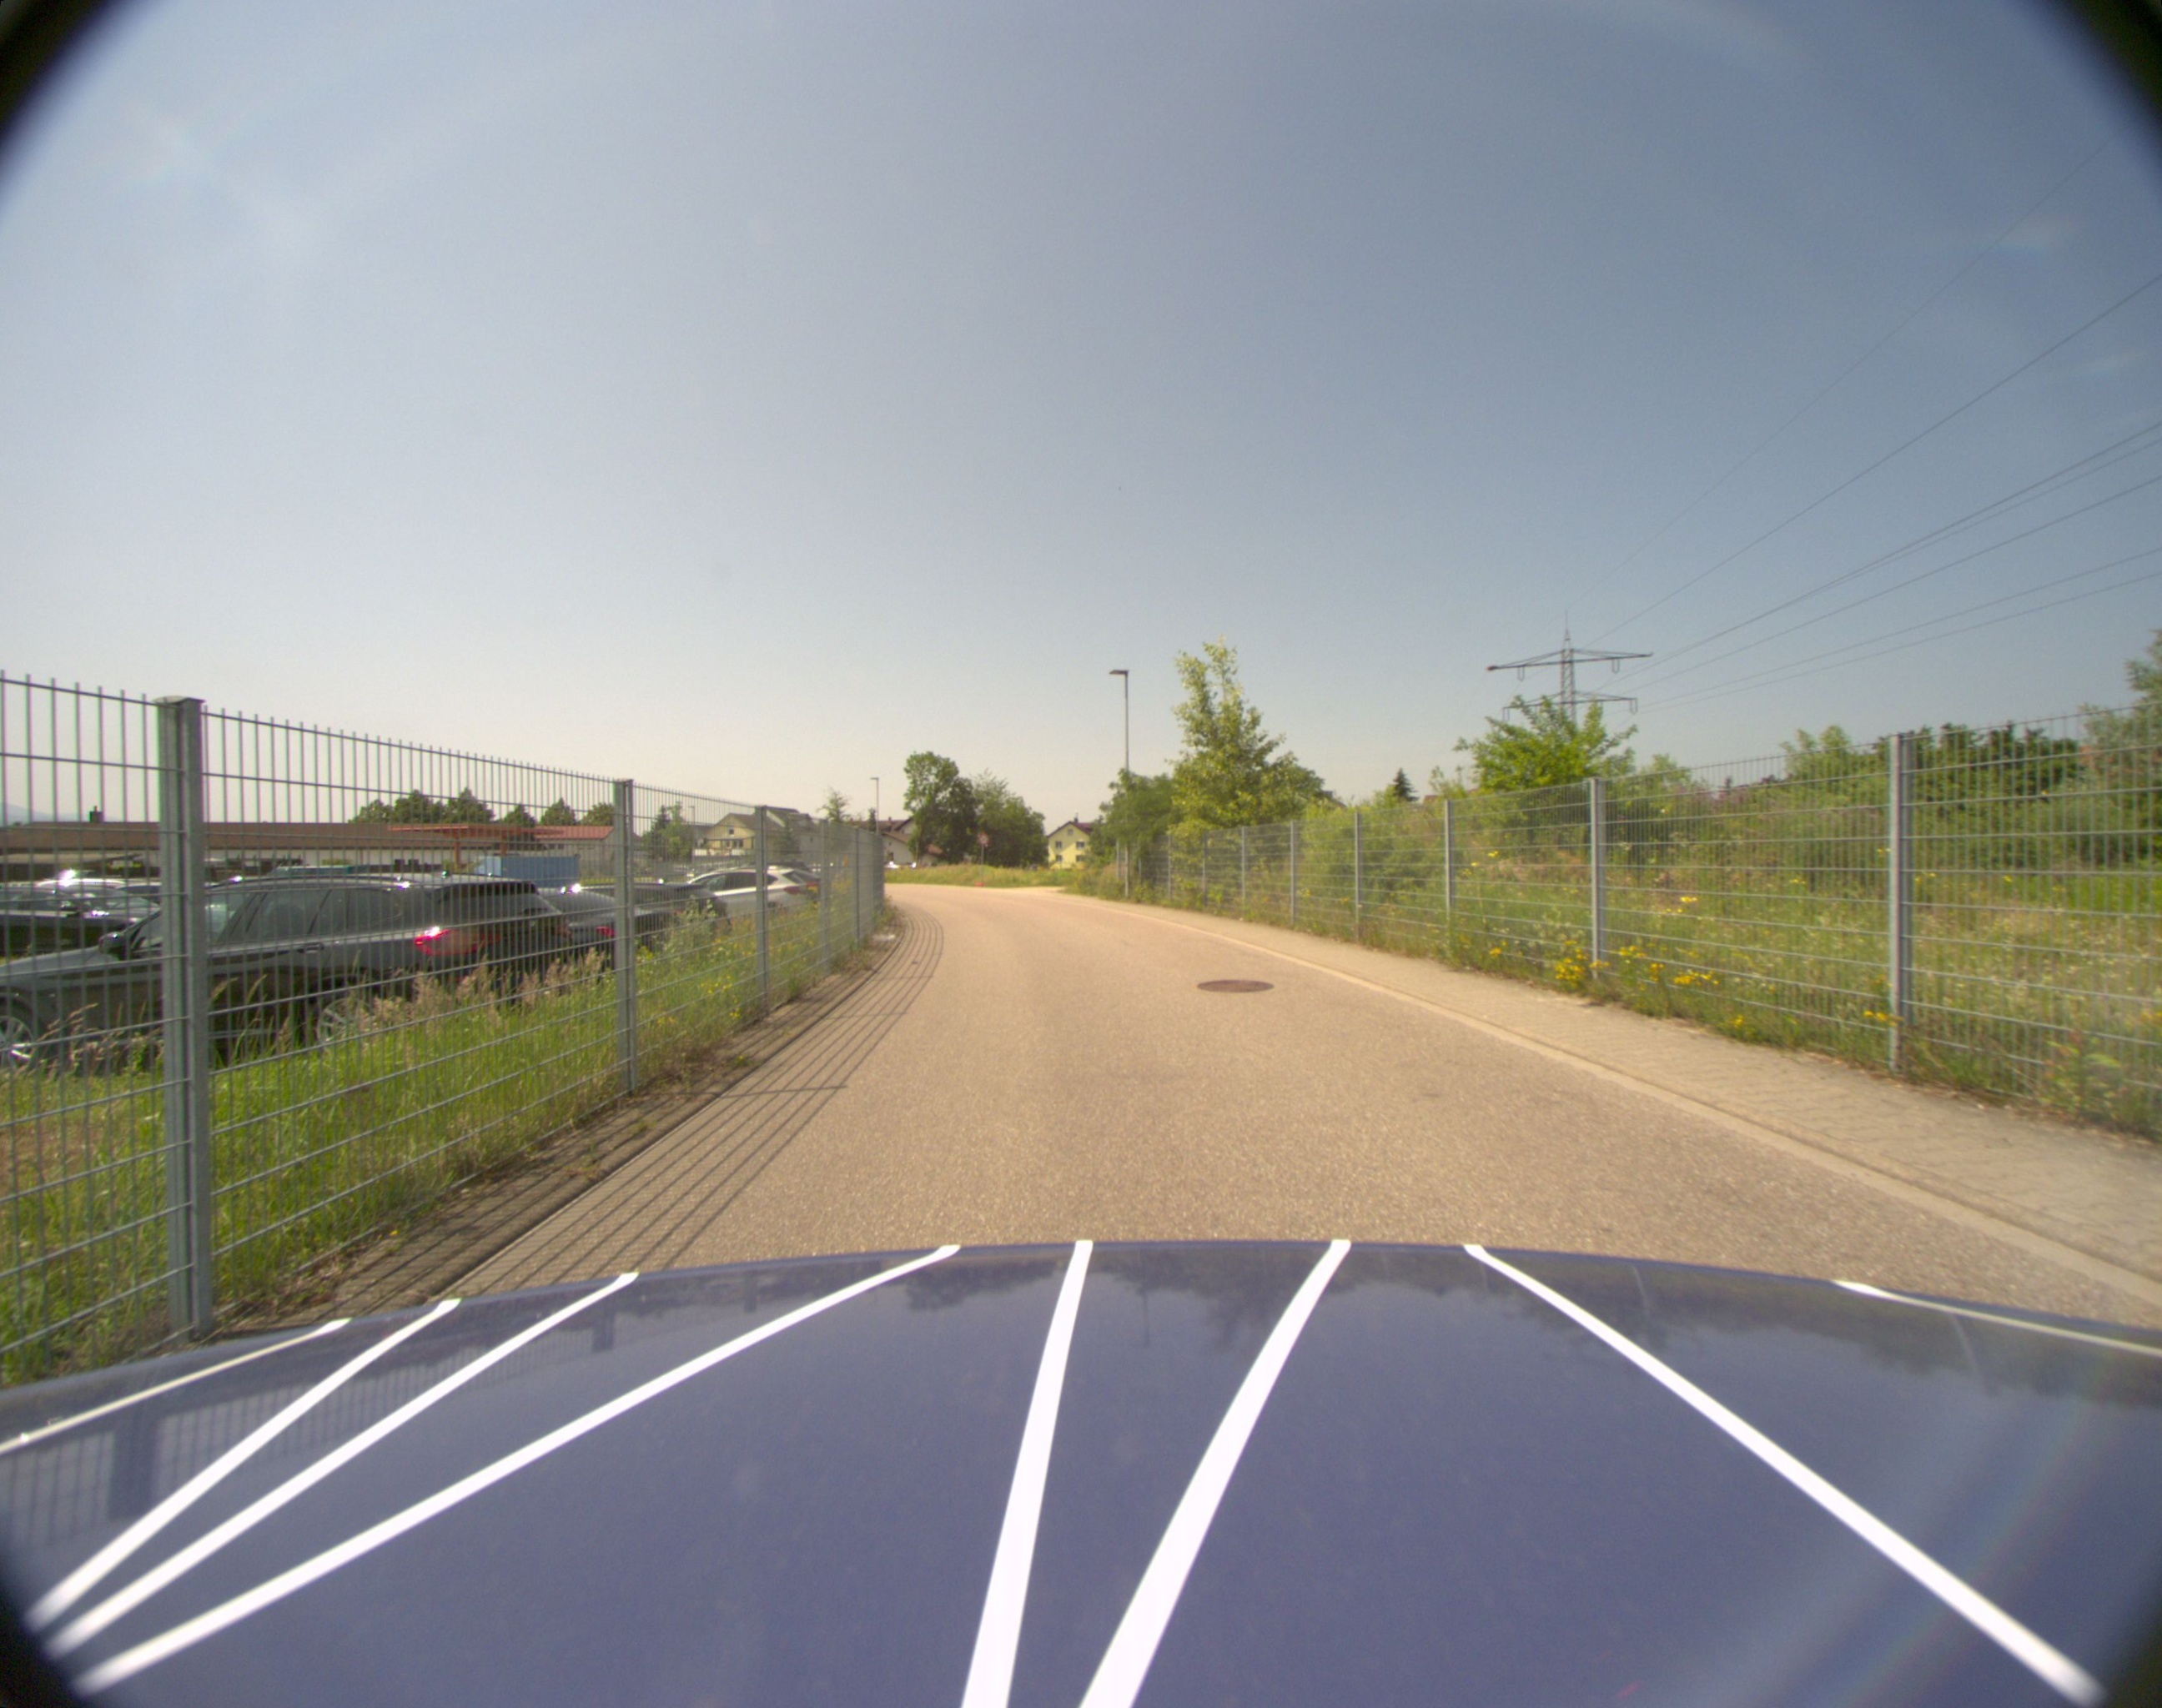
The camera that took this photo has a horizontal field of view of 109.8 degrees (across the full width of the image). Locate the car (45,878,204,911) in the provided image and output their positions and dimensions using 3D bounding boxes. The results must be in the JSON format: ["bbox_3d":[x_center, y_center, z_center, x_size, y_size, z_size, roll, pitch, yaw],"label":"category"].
[{"bbox_3d":[-44.366,1.851,35.358,4.392,1.369,1.840,0,0,-13],"label":"car"}]

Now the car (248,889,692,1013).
[{"bbox_3d":[-7.658,1.183,9.867,4.292,1.370,1.765,0,0,-2],"label":"car"}]

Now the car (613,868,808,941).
[{"bbox_3d":[-9.142,1.211,19.098,4.137,1.660,1.721,0,0,-15],"label":"car"}]

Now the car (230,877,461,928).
[{"bbox_3d":[-22.199,1.431,23.158,4.762,1.344,1.819,0,0,-13],"label":"car"}]

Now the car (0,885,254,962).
[{"bbox_3d":[-20.551,1.396,15.668,4.578,1.424,1.660,0,0,-13],"label":"car"}]

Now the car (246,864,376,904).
[{"bbox_3d":[-39.639,1.525,39.226,4.392,1.970,1.840,0,0,-13],"label":"car"}]

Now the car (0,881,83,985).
[{"bbox_3d":[-20.729,1.426,13.010,4.001,1.708,1.997,-1,2,-12],"label":"car"}]

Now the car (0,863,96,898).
[{"bbox_3d":[-43.455,1.060,30.632,4.392,1.369,1.840,0,0,-13],"label":"car"}]

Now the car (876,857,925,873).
[{"bbox_3d":[-15.453,0.976,64.952,4.391,1.326,1.585,-1,0,37],"label":"car"}]

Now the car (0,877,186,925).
[{"bbox_3d":[-29.360,1.337,21.890,4.392,1.262,1.819,0,0,-13],"label":"car"}]

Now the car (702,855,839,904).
[{"bbox_3d":[-11.824,0.928,29.017,4.708,1.758,1.739,0,0,-27],"label":"car"}]

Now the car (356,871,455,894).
[{"bbox_3d":[-34.261,1.423,38.634,3.377,1.102,1.670,0,0,-13],"label":"car"}]

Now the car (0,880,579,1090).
[{"bbox_3d":[-7.416,1.095,7.057,4.292,1.627,1.765,0,0,-1],"label":"car"}]

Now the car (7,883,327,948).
[{"bbox_3d":[-21.688,1.415,18.278,4.762,1.344,1.819,0,0,-13],"label":"car"}]

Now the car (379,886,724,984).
[{"bbox_3d":[-8.513,1.265,12.590,4.354,1.370,1.764,0,0,-8],"label":"car"}]
